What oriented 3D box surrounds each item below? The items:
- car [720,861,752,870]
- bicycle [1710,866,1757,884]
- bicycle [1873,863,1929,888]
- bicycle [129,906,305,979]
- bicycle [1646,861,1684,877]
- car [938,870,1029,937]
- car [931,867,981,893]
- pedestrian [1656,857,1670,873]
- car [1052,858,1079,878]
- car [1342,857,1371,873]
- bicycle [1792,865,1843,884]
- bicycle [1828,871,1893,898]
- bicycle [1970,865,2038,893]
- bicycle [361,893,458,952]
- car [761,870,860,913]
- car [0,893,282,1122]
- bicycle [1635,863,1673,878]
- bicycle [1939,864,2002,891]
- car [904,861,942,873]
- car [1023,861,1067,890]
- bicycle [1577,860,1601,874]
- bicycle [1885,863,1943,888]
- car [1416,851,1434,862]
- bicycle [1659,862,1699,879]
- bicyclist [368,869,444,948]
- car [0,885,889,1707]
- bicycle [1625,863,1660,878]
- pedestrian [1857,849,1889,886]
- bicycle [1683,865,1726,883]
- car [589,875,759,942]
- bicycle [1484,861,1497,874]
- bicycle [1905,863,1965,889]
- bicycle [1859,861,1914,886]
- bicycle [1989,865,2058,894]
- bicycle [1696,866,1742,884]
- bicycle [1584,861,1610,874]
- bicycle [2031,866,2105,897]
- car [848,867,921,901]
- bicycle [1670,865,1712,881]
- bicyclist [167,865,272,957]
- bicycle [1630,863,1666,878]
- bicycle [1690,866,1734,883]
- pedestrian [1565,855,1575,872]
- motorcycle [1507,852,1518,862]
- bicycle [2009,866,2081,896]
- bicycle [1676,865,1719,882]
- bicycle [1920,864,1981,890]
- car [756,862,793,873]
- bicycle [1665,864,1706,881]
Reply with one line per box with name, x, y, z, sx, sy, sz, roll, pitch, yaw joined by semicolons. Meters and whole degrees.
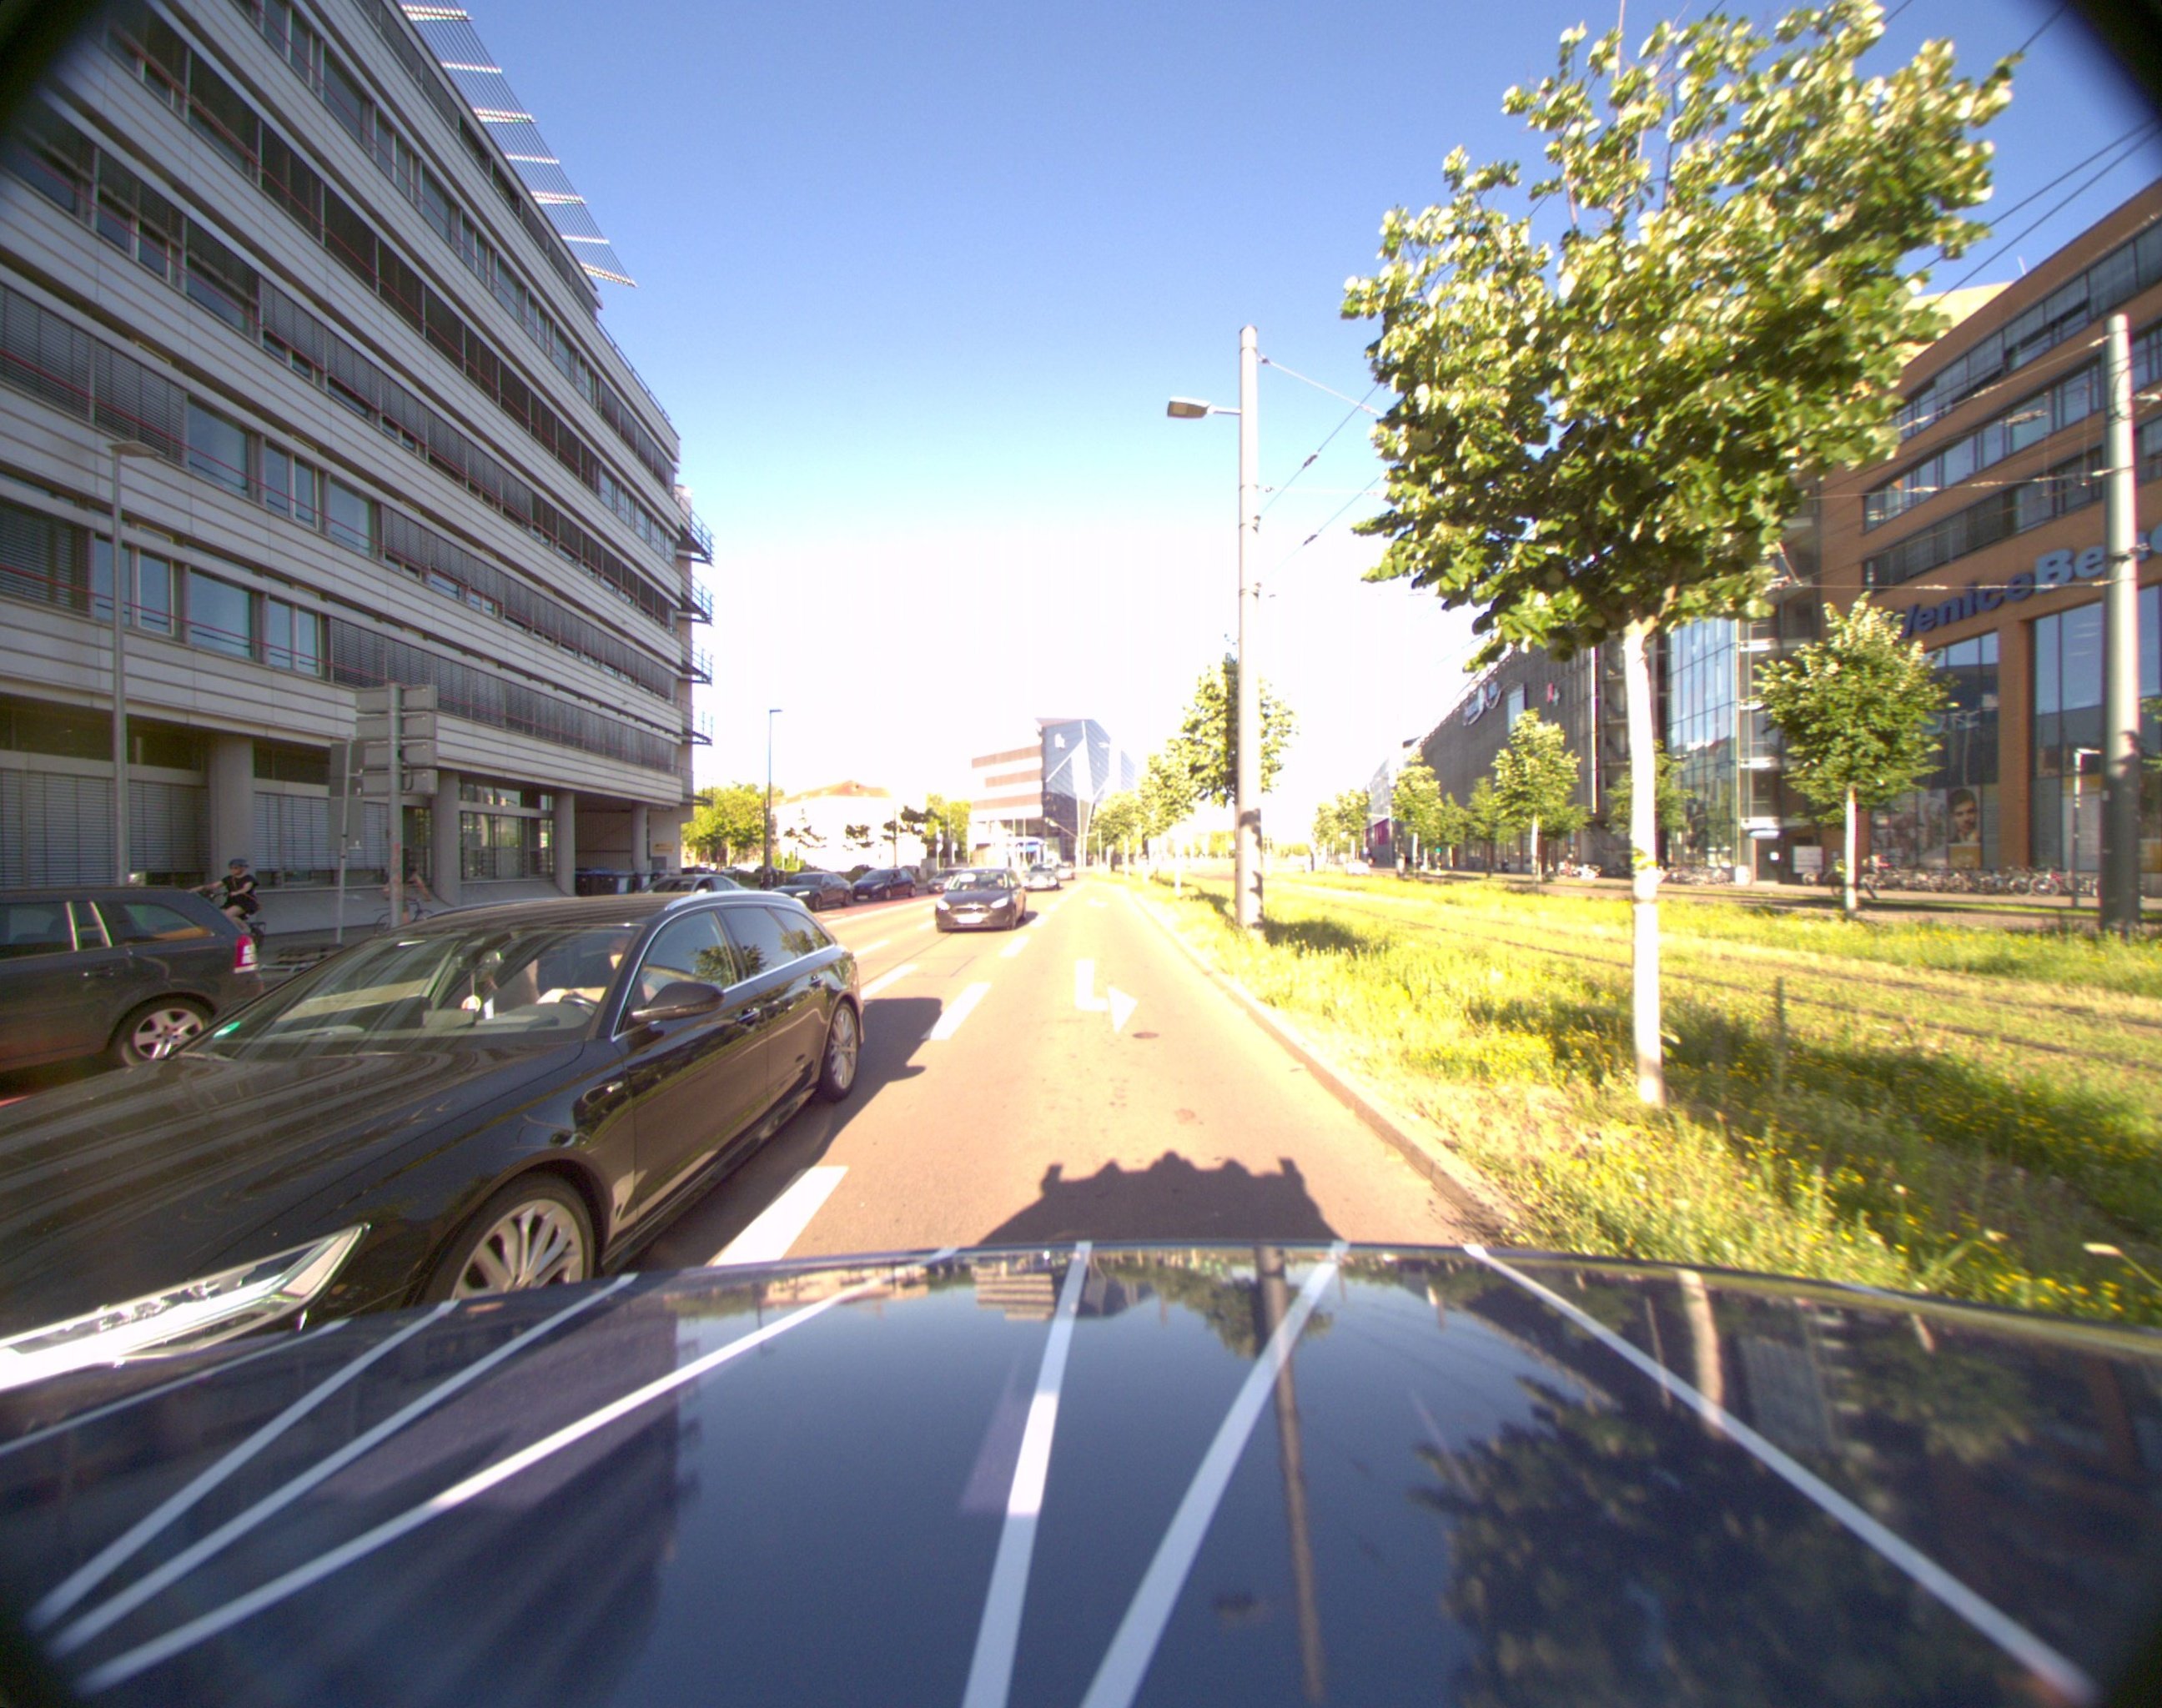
car;-48.774;1.587;107.308;3.990;1.237;2.003;-1;0;25
bicycle;33.664;1.077;39.232;1.768;0.921;0.565;-1;1;16
bicycle;35.427;0.914;32.837;1.769;1.043;0.491;-1;1;7
bicycle;-15.200;1.512;13.474;0.500;1.026;2.206;0;0;4
bicycle;35.270;0.903;45.899;1.768;0.921;0.491;-1;1;16
car;-2.256;1.118;18.585;1.690;1.424;4.153;-1;-1;0
car;-7.090;1.456;43.410;1.437;1.437;4.005;0;-1;12
pedestrian;39.576;0.753;51.655;0.629;1.048;0.450;-1;1;12
car;-1.196;1.077;60.720;1.619;1.421;3.769;-2;0;6
car;24.307;0.931;67.188;1.809;1.320;4.409;0;0;12
bicycle;36.526;0.996;37.687;1.768;0.921;0.565;-1;1;16
bicycle;27.374;1.059;26.722;0.464;0.863;1.771;-1;0;0
bicycle;34.922;0.946;28.759;1.769;1.043;0.491;-1;1;7
bicycle;-14.026;1.403;15.932;0.505;1.052;1.702;1;1;1
car;-10.016;1.337;28.463;1.713;1.432;4.114;-1;-1;9
car;-8.985;1.204;5.303;1.691;1.619;4.466;-1;0;10
bicycle;35.486;1.036;47.085;1.768;0.921;0.565;-1;1;16
bicycle;35.159;0.933;30.051;1.769;1.043;0.491;-1;1;7
car;-20.294;1.648;97.408;4.285;1.414;2.003;-1;0;19
car;-1.902;1.144;41.479;1.748;1.496;3.882;-1;0;7
bicycle;36.600;0.936;54.752;1.398;0.921;0.462;-1;1;16
bicycle;35.364;0.919;32.275;1.769;1.043;0.491;-1;1;7
car;51.809;0.331;114.413;1.582;1.521;3.754;-2;0;12
bicycle;34.990;0.965;44.493;1.768;0.921;0.491;-1;1;16
bicyclist;-14.255;1.126;16.080;0.685;1.608;0.991;-1;0;1
car;-2.435;1.009;3.316;1.815;1.483;4.496;-3;0;2
bicycle;35.807;1.031;48.456;1.768;0.921;0.491;-1;1;16
pedestrian;35.671;0.612;34.220;0.746;1.659;0.676;-1;1;6
bicycle;34.271;1.097;41.791;1.768;0.921;0.565;-1;1;16
car;-10.525;1.343;20.102;1.754;1.423;4.490;-1;0;5
bicycle;30.324;1.027;56.320;0.386;0.918;1.773;-1;0;12
bicycle;35.284;0.924;31.417;1.769;1.043;0.491;-1;1;7
bicycle;35.514;0.855;33.516;1.769;1.043;0.491;-1;1;7
bicycle;34.822;0.952;28.085;1.769;1.043;0.491;-1;1;7
bicycle;33.828;1.118;40.301;1.768;0.921;0.565;-1;1;16
bicycle;36.278;0.952;53.416;1.398;0.921;0.462;-1;1;16
bicycle;34.650;0.963;26.683;1.769;1.043;0.491;-1;1;7
car;-9.208;1.364;35.891;1.734;1.437;4.004;-1;0;12
bicycle;34.624;1.080;43.141;1.768;0.921;0.565;-1;1;16
bicyclist;-15.335;0.991;13.555;0.625;1.557;1.044;-1;1;6
bicycle;35.634;1.029;47.744;1.768;0.921;0.491;-1;1;16
bicycle;34.068;1.107;41.048;1.768;0.921;0.565;-1;1;16
pedestrian;37.108;0.718;57.662;0.448;1.282;0.630;-1;1;12
motorcycle;42.001;0.273;73.949;0.428;0.914;2.027;-1;0;15
bicycle;34.720;0.958;27.381;1.769;1.043;0.491;-1;1;7
bicycle;34.419;1.089;42.455;1.768;0.921;0.565;-1;1;16
bicycle;35.200;0.929;30.771;1.769;1.043;0.491;-1;1;7
car;-42.117;1.821;104.365;4.516;1.414;2.003;-1;0;19
bicycle;34.822;1.071;43.813;1.768;0.921;0.565;-1;1;16
